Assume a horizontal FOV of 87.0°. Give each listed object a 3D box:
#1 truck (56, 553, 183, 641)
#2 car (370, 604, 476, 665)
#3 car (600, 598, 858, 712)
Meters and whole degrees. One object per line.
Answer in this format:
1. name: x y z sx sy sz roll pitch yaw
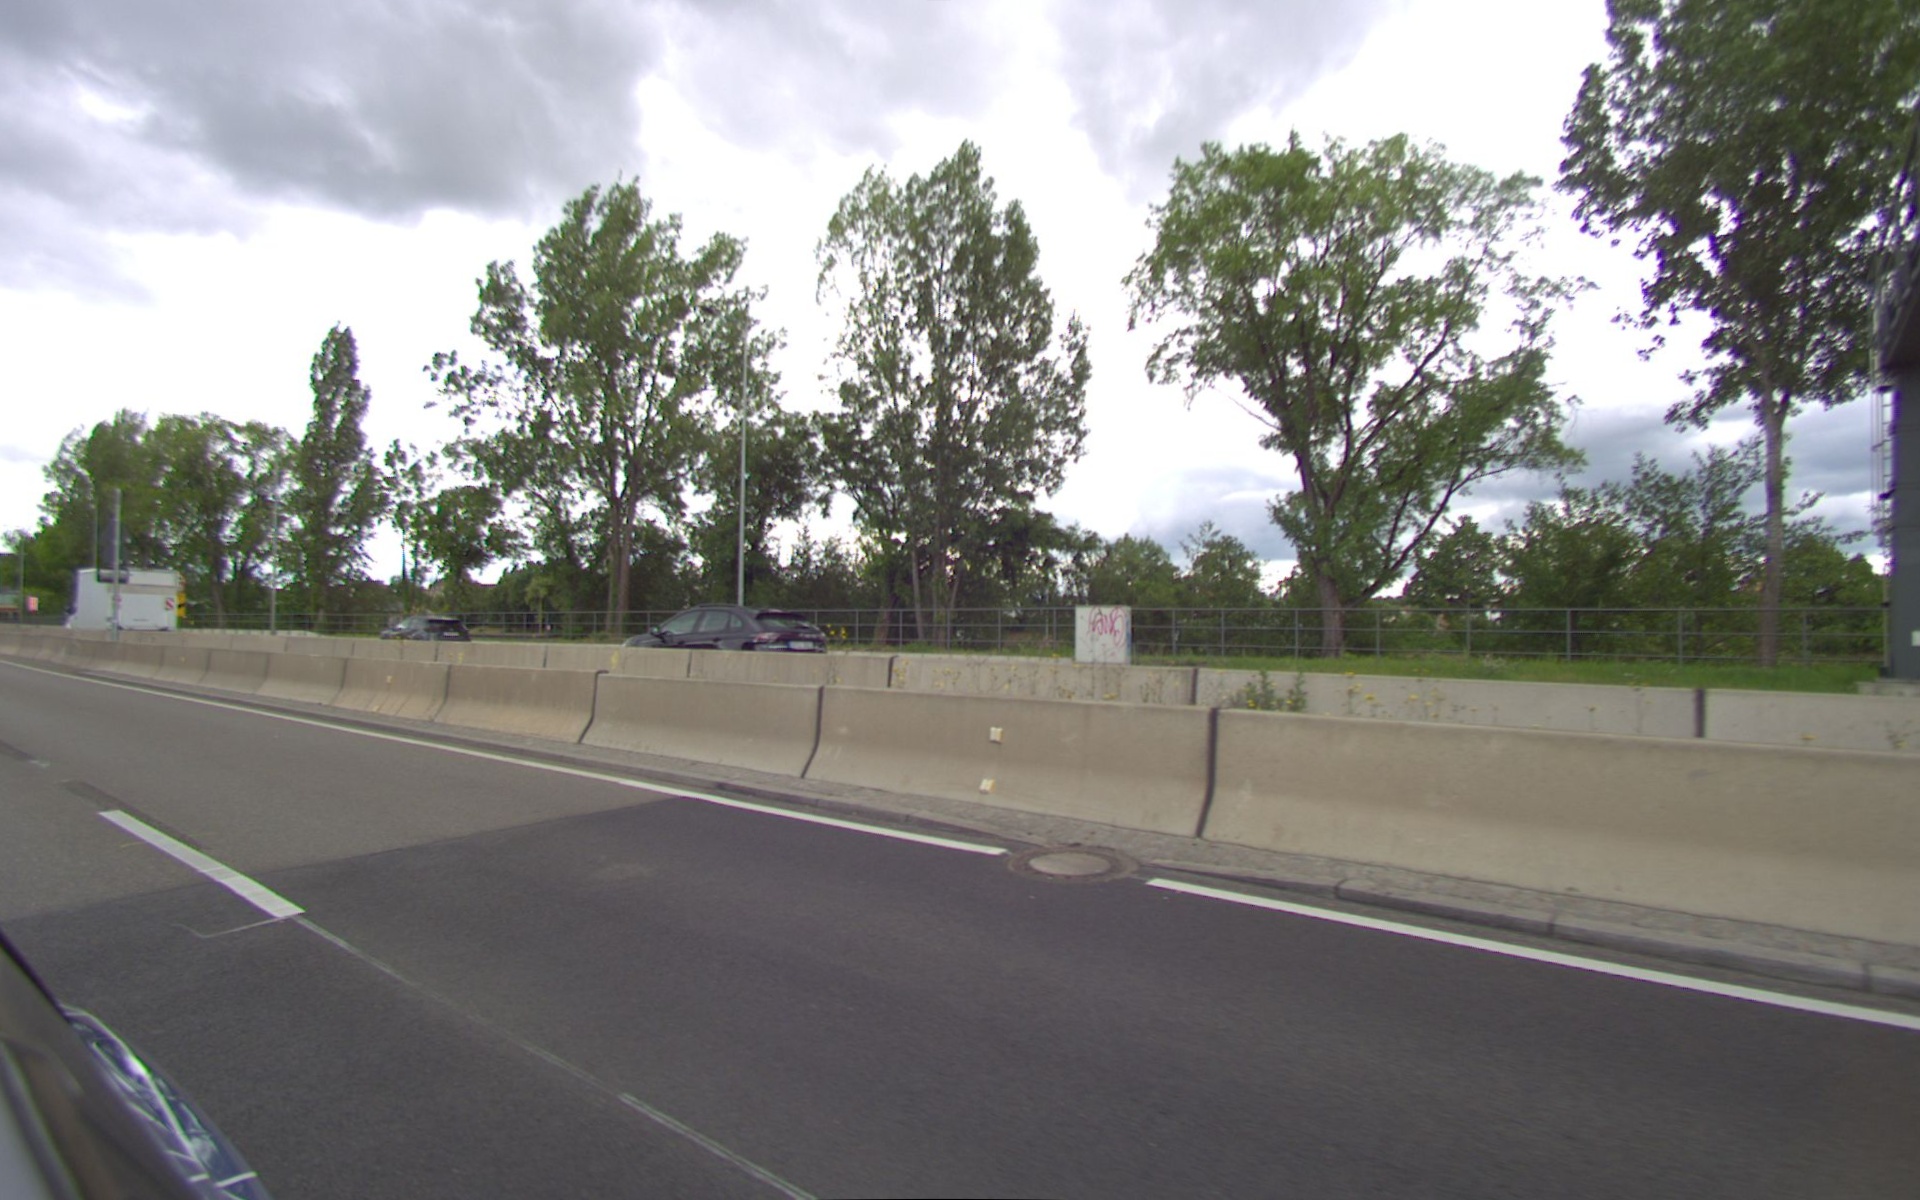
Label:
1. truck: -32.459 -0.077 38.985 7.194 3.130 2.380 -1 0 39
2. car: -19.139 1.184 36.013 3.996 2.029 1.974 -1 0 40
3. car: -3.946 0.823 16.878 4.452 1.630 1.906 -1 0 40
